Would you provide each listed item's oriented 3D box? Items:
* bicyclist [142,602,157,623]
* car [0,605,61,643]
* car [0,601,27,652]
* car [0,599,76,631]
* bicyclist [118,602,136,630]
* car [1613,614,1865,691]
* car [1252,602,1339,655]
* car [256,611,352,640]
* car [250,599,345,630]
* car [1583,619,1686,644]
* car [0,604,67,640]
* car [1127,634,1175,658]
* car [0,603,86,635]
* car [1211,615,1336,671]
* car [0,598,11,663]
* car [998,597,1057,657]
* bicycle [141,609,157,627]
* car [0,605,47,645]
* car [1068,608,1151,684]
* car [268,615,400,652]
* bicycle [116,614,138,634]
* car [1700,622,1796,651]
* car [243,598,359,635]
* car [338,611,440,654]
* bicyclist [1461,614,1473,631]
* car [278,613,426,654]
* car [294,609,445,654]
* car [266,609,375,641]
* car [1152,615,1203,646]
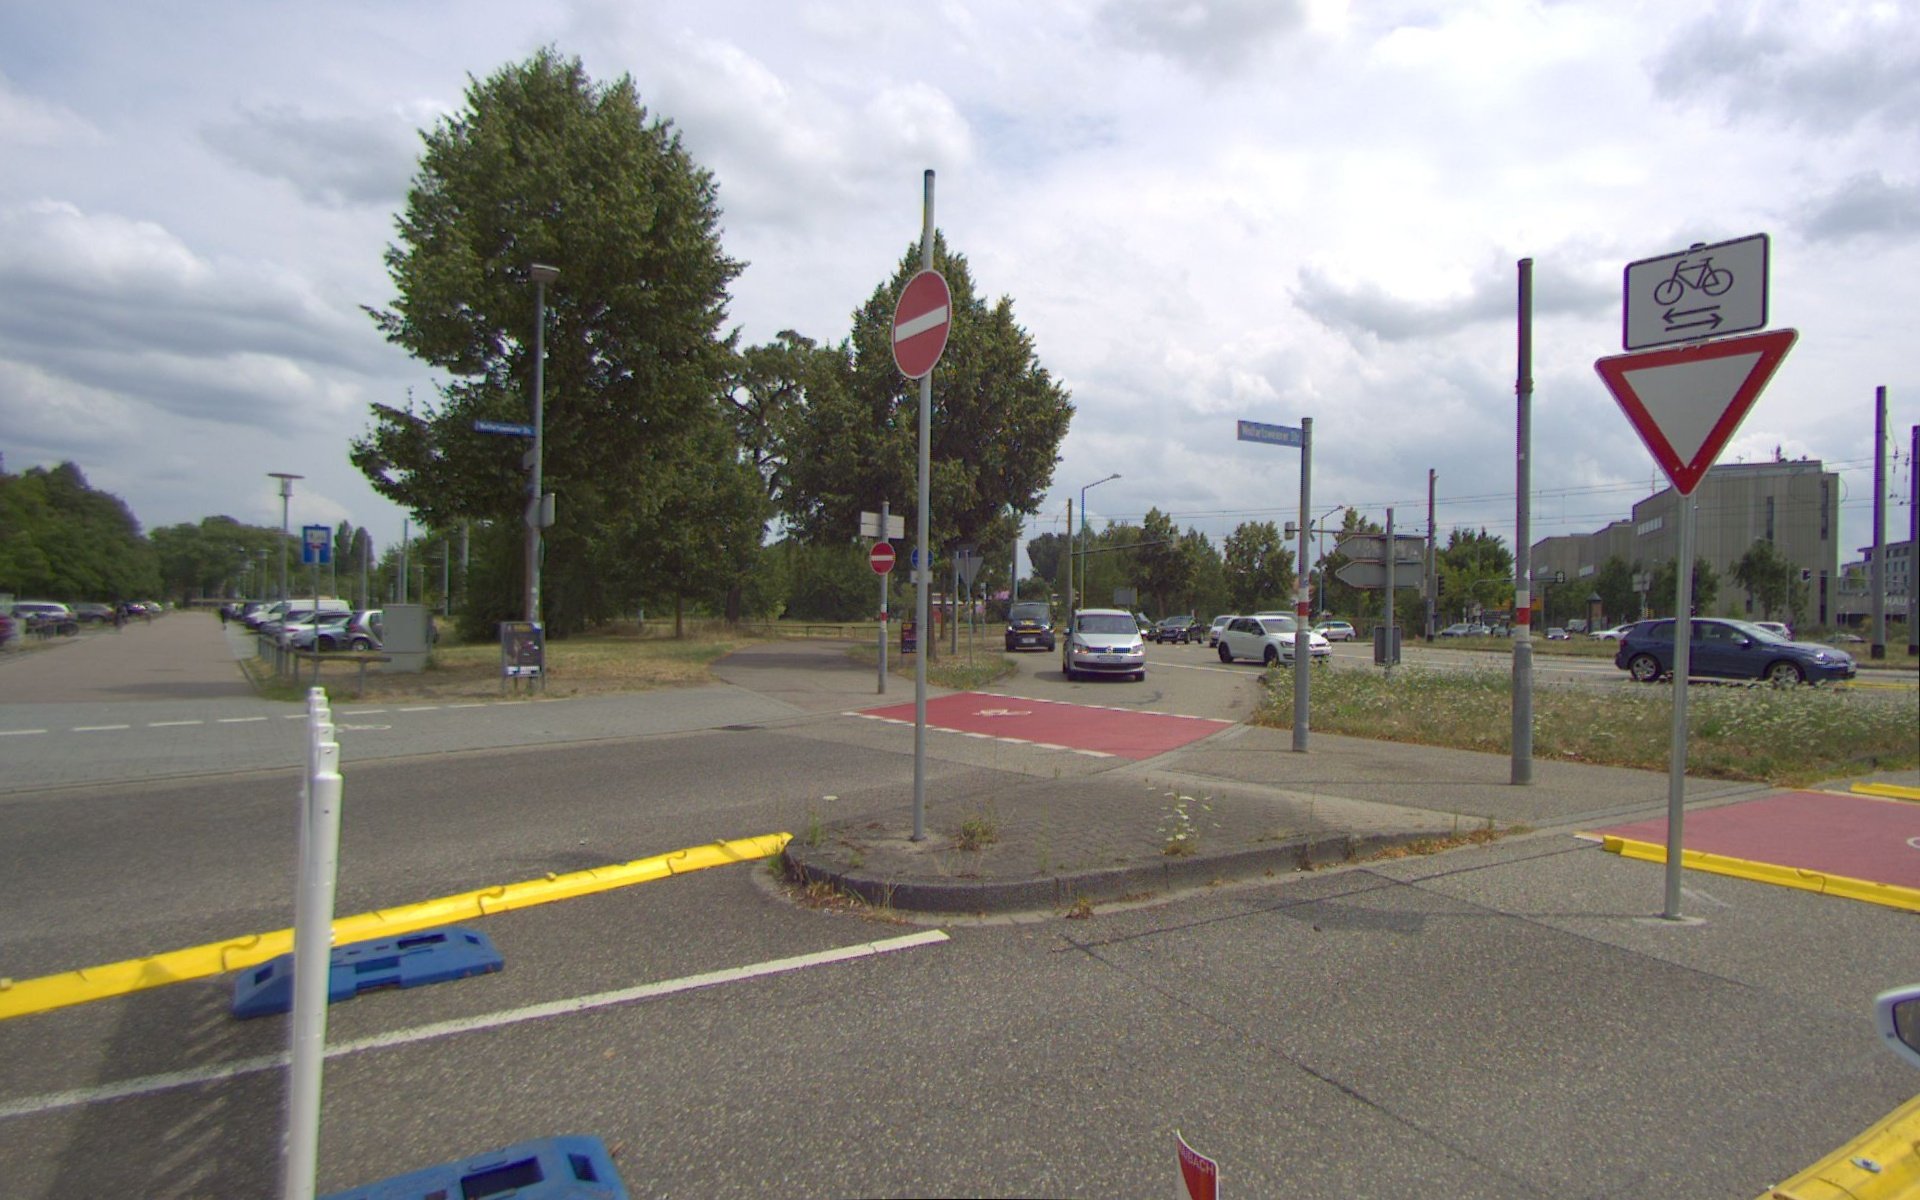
[{"bbox_3d":[-55.978,0.887,69.371,0.774,1.423,0.720,1,-1,-41],"label":"bicyclist"},{"bbox_3d":[-38.123,0.925,39.504,3.973,1.487,1.797,2,-1,-39],"label":"car"},{"bbox_3d":[-32.318,0.793,31.412,4.366,1.619,1.979,2,-1,-37],"label":"car"},{"bbox_3d":[-47.575,0.763,50.974,3.973,1.595,1.797,1,-1,-39],"label":"car"},{"bbox_3d":[-44.332,0.853,53.472,0.595,1.442,0.797,1,-1,-30],"label":"bicyclist"},{"bbox_3d":[17.180,1.088,22.352,1.781,1.517,4.081,1,-1,-31],"label":"car"},{"bbox_3d":[12.889,1.076,38.829,1.756,1.884,4.252,1,-1,-2],"label":"car"},{"bbox_3d":[-36.069,1.427,55.261,4.273,1.491,1.813,2,-1,-37],"label":"car"},{"bbox_3d":[-47.046,1.070,71.411,5.519,2.083,2.178,2,-1,-38],"label":"car"},{"bbox_3d":[43.378,2.024,64.710,5.079,1.502,2.001,1,-1,16],"label":"car"},{"bbox_3d":[-40.526,0.913,42.499,3.973,1.487,1.797,2,-1,-39],"label":"car"},{"bbox_3d":[12.252,2.921,64.373,1.606,1.433,3.709,-1,-2,36],"label":"car"},{"bbox_3d":[-44.239,0.904,47.691,3.973,1.487,1.797,2,-1,-39],"label":"car"},{"bbox_3d":[9.234,1.229,29.937,1.770,1.517,4.252,1,-1,-11],"label":"car"},{"bbox_3d":[-28.901,0.792,27.179,4.462,1.788,1.978,2,-1,-39],"label":"car"},{"bbox_3d":[2.722,1.105,41.693,1.961,2.303,5.159,1,-1,-1],"label":"car"},{"bbox_3d":[-56.053,1.238,69.450,0.774,1.191,2.203,1,-1,-41],"label":"bicycle"},{"bbox_3d":[-37.029,0.915,37.679,3.973,1.487,1.597,2,-1,-39],"label":"car"},{"bbox_3d":[3.543,1.052,24.471,1.765,1.644,4.750,1,-1,6],"label":"car"},{"bbox_3d":[-26.892,1.448,43.244,4.667,1.491,1.813,2,-1,-38],"label":"car"},{"bbox_3d":[-44.306,1.260,53.427,0.595,1.060,1.814,1,-1,-30],"label":"bicycle"},{"bbox_3d":[49.282,2.248,62.911,4.267,1.688,1.939,1,-1,15],"label":"car"},{"bbox_3d":[-38.917,0.993,59.381,5.524,2.083,2.176,2,-1,-40],"label":"car"},{"bbox_3d":[-20.340,1.133,35.828,2.896,1.442,1.464,-1,0,-44],"label":"car"},{"bbox_3d":[43.678,1.938,86.582,0.660,1.428,0.865,1,-1,6],"label":"bicyclist"},{"bbox_3d":[-23.959,1.326,39.656,4.845,1.491,1.813,2,-1,-38],"label":"car"},{"bbox_3d":[-22.073,1.147,37.657,4.668,1.491,1.812,-1,1,-40],"label":"car"},{"bbox_3d":[-31.276,1.245,49.166,4.347,1.491,1.813,2,-1,-37],"label":"car"},{"bbox_3d":[11.633,1.595,54.018,1.699,1.554,4.371,1,-1,-1],"label":"car"}]
